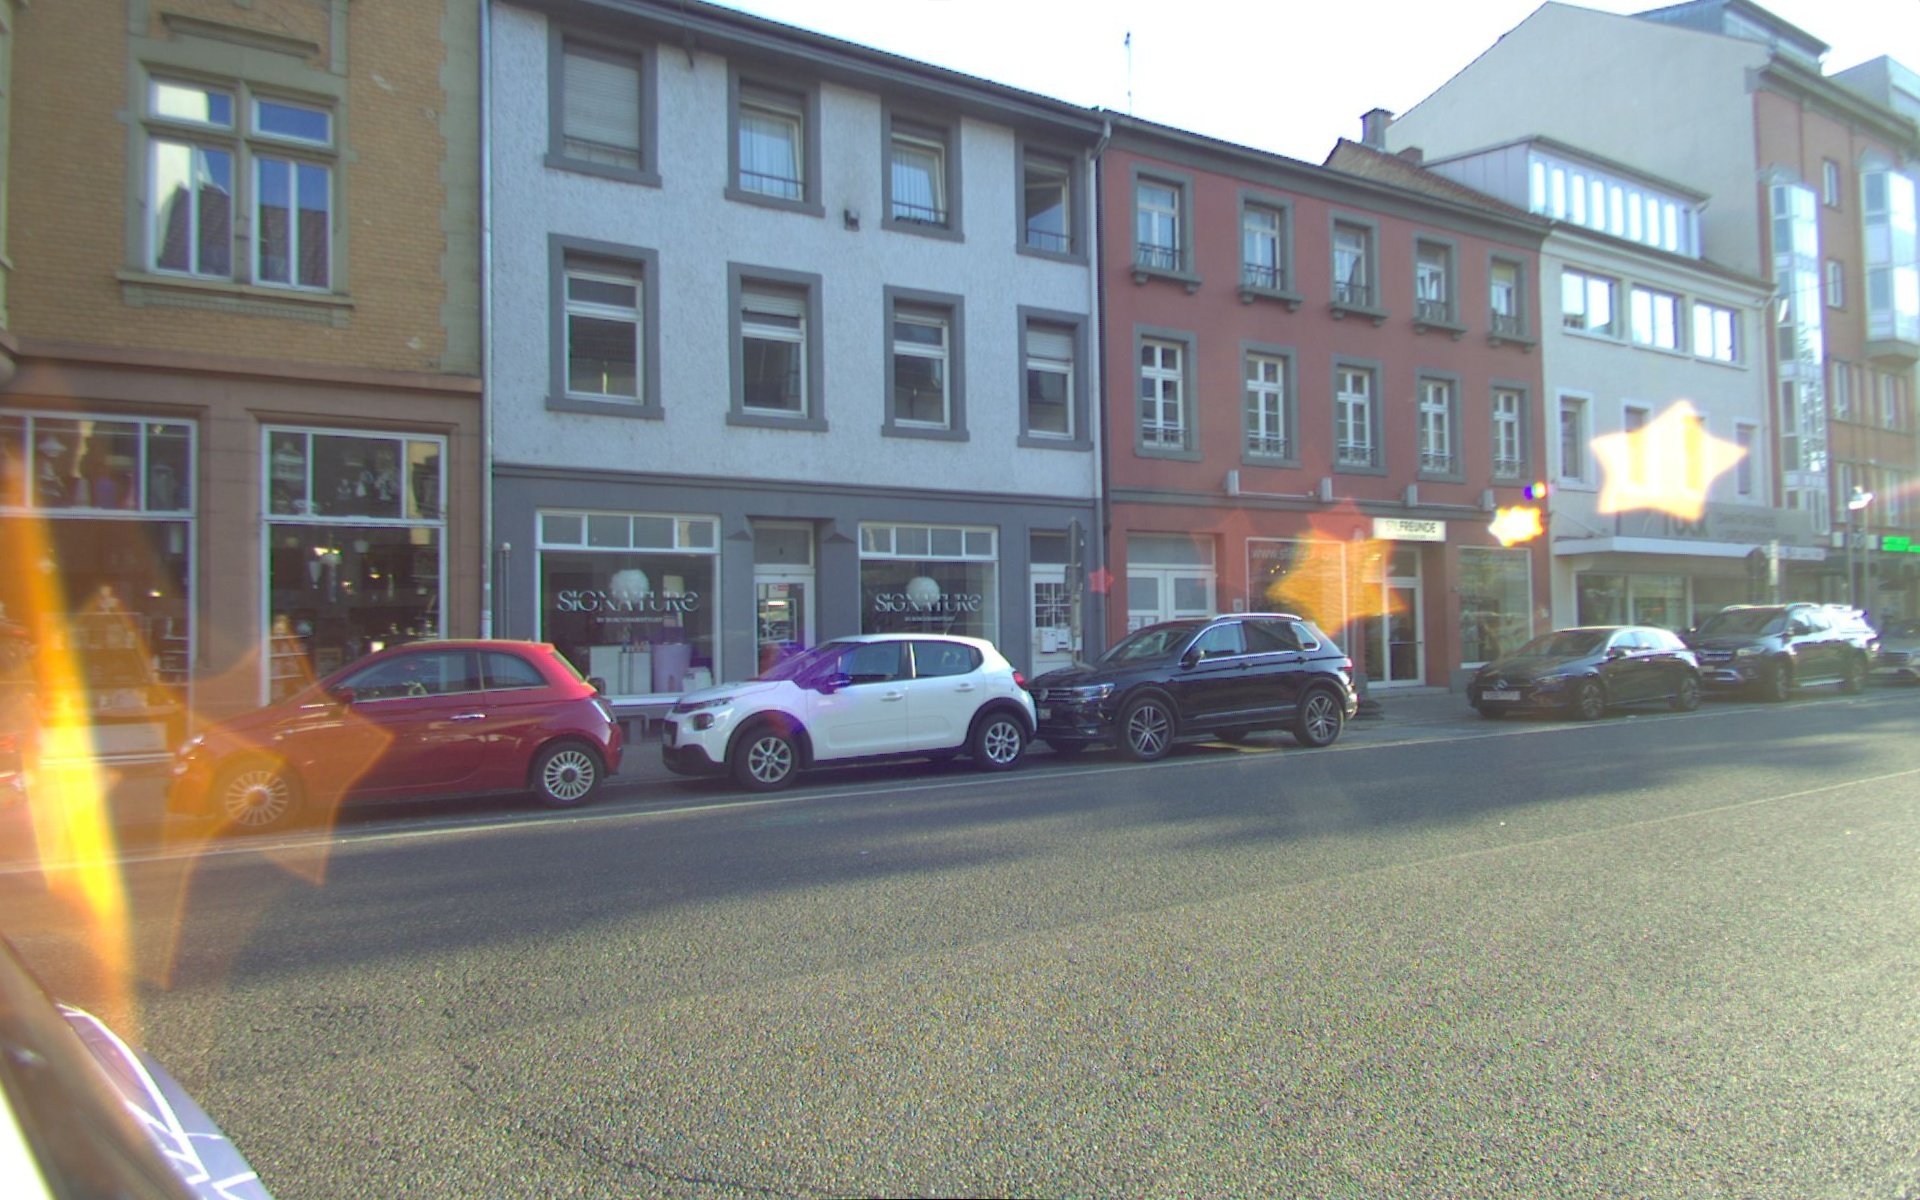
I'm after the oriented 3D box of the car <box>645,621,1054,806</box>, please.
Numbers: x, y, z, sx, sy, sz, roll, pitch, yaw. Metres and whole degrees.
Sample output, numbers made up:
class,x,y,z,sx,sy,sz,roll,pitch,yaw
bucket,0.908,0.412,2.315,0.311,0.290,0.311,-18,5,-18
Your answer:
class,x,y,z,sx,sy,sz,roll,pitch,yaw
car,-1.137,1.076,10.573,3.866,1.585,1.672,0,-4,-27

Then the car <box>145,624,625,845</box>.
class,x,y,z,sx,sy,sz,roll,pitch,yaw
car,-4.801,1.048,8.865,3.362,1.582,1.535,0,-4,-26

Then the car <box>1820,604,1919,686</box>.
class,x,y,z,sx,sy,sz,roll,pitch,yaw
car,21.348,0.950,22.263,4.547,1.668,2.006,0,-3,-27

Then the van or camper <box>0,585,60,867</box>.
class,x,y,z,sx,sy,sz,roll,pitch,yaw
van or camper,-8.468,0.849,6.011,4.385,1.821,1.901,0,-3,-33

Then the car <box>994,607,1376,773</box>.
class,x,y,z,sx,sy,sz,roll,pitch,yaw
car,2.793,1.011,12.404,4.383,1.711,1.805,0,-4,-28

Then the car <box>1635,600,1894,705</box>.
class,x,y,z,sx,sy,sz,roll,pitch,yaw
car,15.526,0.959,19.465,5.227,1.791,2.006,0,-3,-30

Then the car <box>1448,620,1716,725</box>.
class,x,y,z,sx,sy,sz,roll,pitch,yaw
car,10.211,1.149,16.570,4.334,1.499,1.695,0,-5,-28
